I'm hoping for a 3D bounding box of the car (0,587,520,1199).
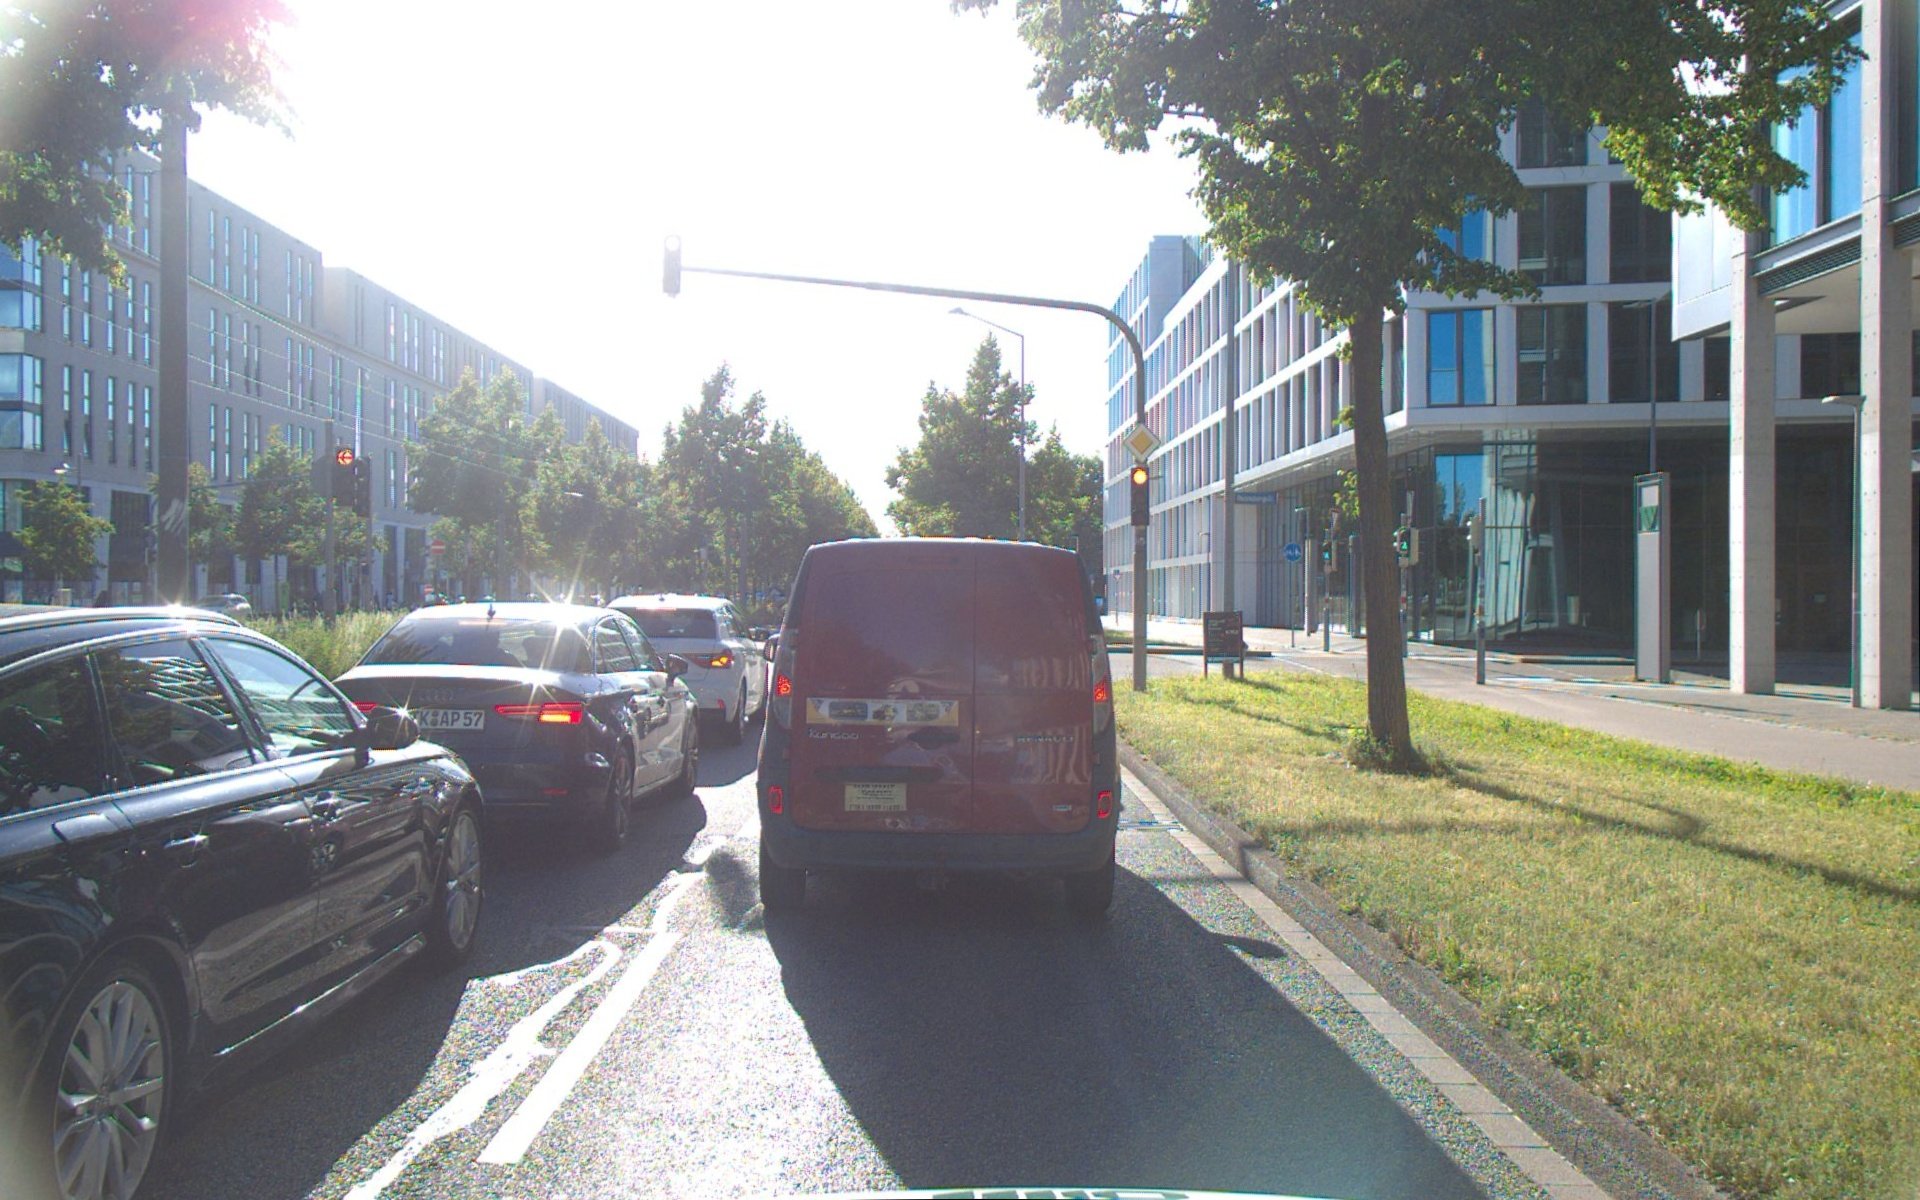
[{"bbox_3d":[-2.739,0.704,4.830,1.771,1.482,4.507,0,0,-1],"label":"car"}]

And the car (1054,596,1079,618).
[{"bbox_3d":[8.203,0.534,127.981,1.722,1.640,3.903,0,0,0],"label":"car"}]

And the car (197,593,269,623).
[{"bbox_3d":[-34.635,0.364,78.877,1.548,1.366,4.470,0,0,-1],"label":"car"}]

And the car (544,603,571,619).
[{"bbox_3d":[-36.166,0.965,148.681,1.548,1.366,3.711,0,0,-1],"label":"car"}]

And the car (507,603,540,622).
[{"bbox_3d":[-35.345,0.998,134.006,1.740,1.555,3.805,0,0,-1],"label":"car"}]

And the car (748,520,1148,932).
[{"bbox_3d":[-0.053,0.551,9.400,1.771,1.825,4.113,0,0,0],"label":"car"}]

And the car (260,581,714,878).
[{"bbox_3d":[-2.790,0.672,10.743,1.771,1.554,4.113,0,0,0],"label":"car"}]

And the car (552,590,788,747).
[{"bbox_3d":[-2.913,0.627,17.448,1.771,1.460,4.113,0,0,0],"label":"car"}]

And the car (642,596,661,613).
[{"bbox_3d":[-36.945,0.517,198.003,1.694,2.049,3.998,0,0,-3],"label":"car"}]
